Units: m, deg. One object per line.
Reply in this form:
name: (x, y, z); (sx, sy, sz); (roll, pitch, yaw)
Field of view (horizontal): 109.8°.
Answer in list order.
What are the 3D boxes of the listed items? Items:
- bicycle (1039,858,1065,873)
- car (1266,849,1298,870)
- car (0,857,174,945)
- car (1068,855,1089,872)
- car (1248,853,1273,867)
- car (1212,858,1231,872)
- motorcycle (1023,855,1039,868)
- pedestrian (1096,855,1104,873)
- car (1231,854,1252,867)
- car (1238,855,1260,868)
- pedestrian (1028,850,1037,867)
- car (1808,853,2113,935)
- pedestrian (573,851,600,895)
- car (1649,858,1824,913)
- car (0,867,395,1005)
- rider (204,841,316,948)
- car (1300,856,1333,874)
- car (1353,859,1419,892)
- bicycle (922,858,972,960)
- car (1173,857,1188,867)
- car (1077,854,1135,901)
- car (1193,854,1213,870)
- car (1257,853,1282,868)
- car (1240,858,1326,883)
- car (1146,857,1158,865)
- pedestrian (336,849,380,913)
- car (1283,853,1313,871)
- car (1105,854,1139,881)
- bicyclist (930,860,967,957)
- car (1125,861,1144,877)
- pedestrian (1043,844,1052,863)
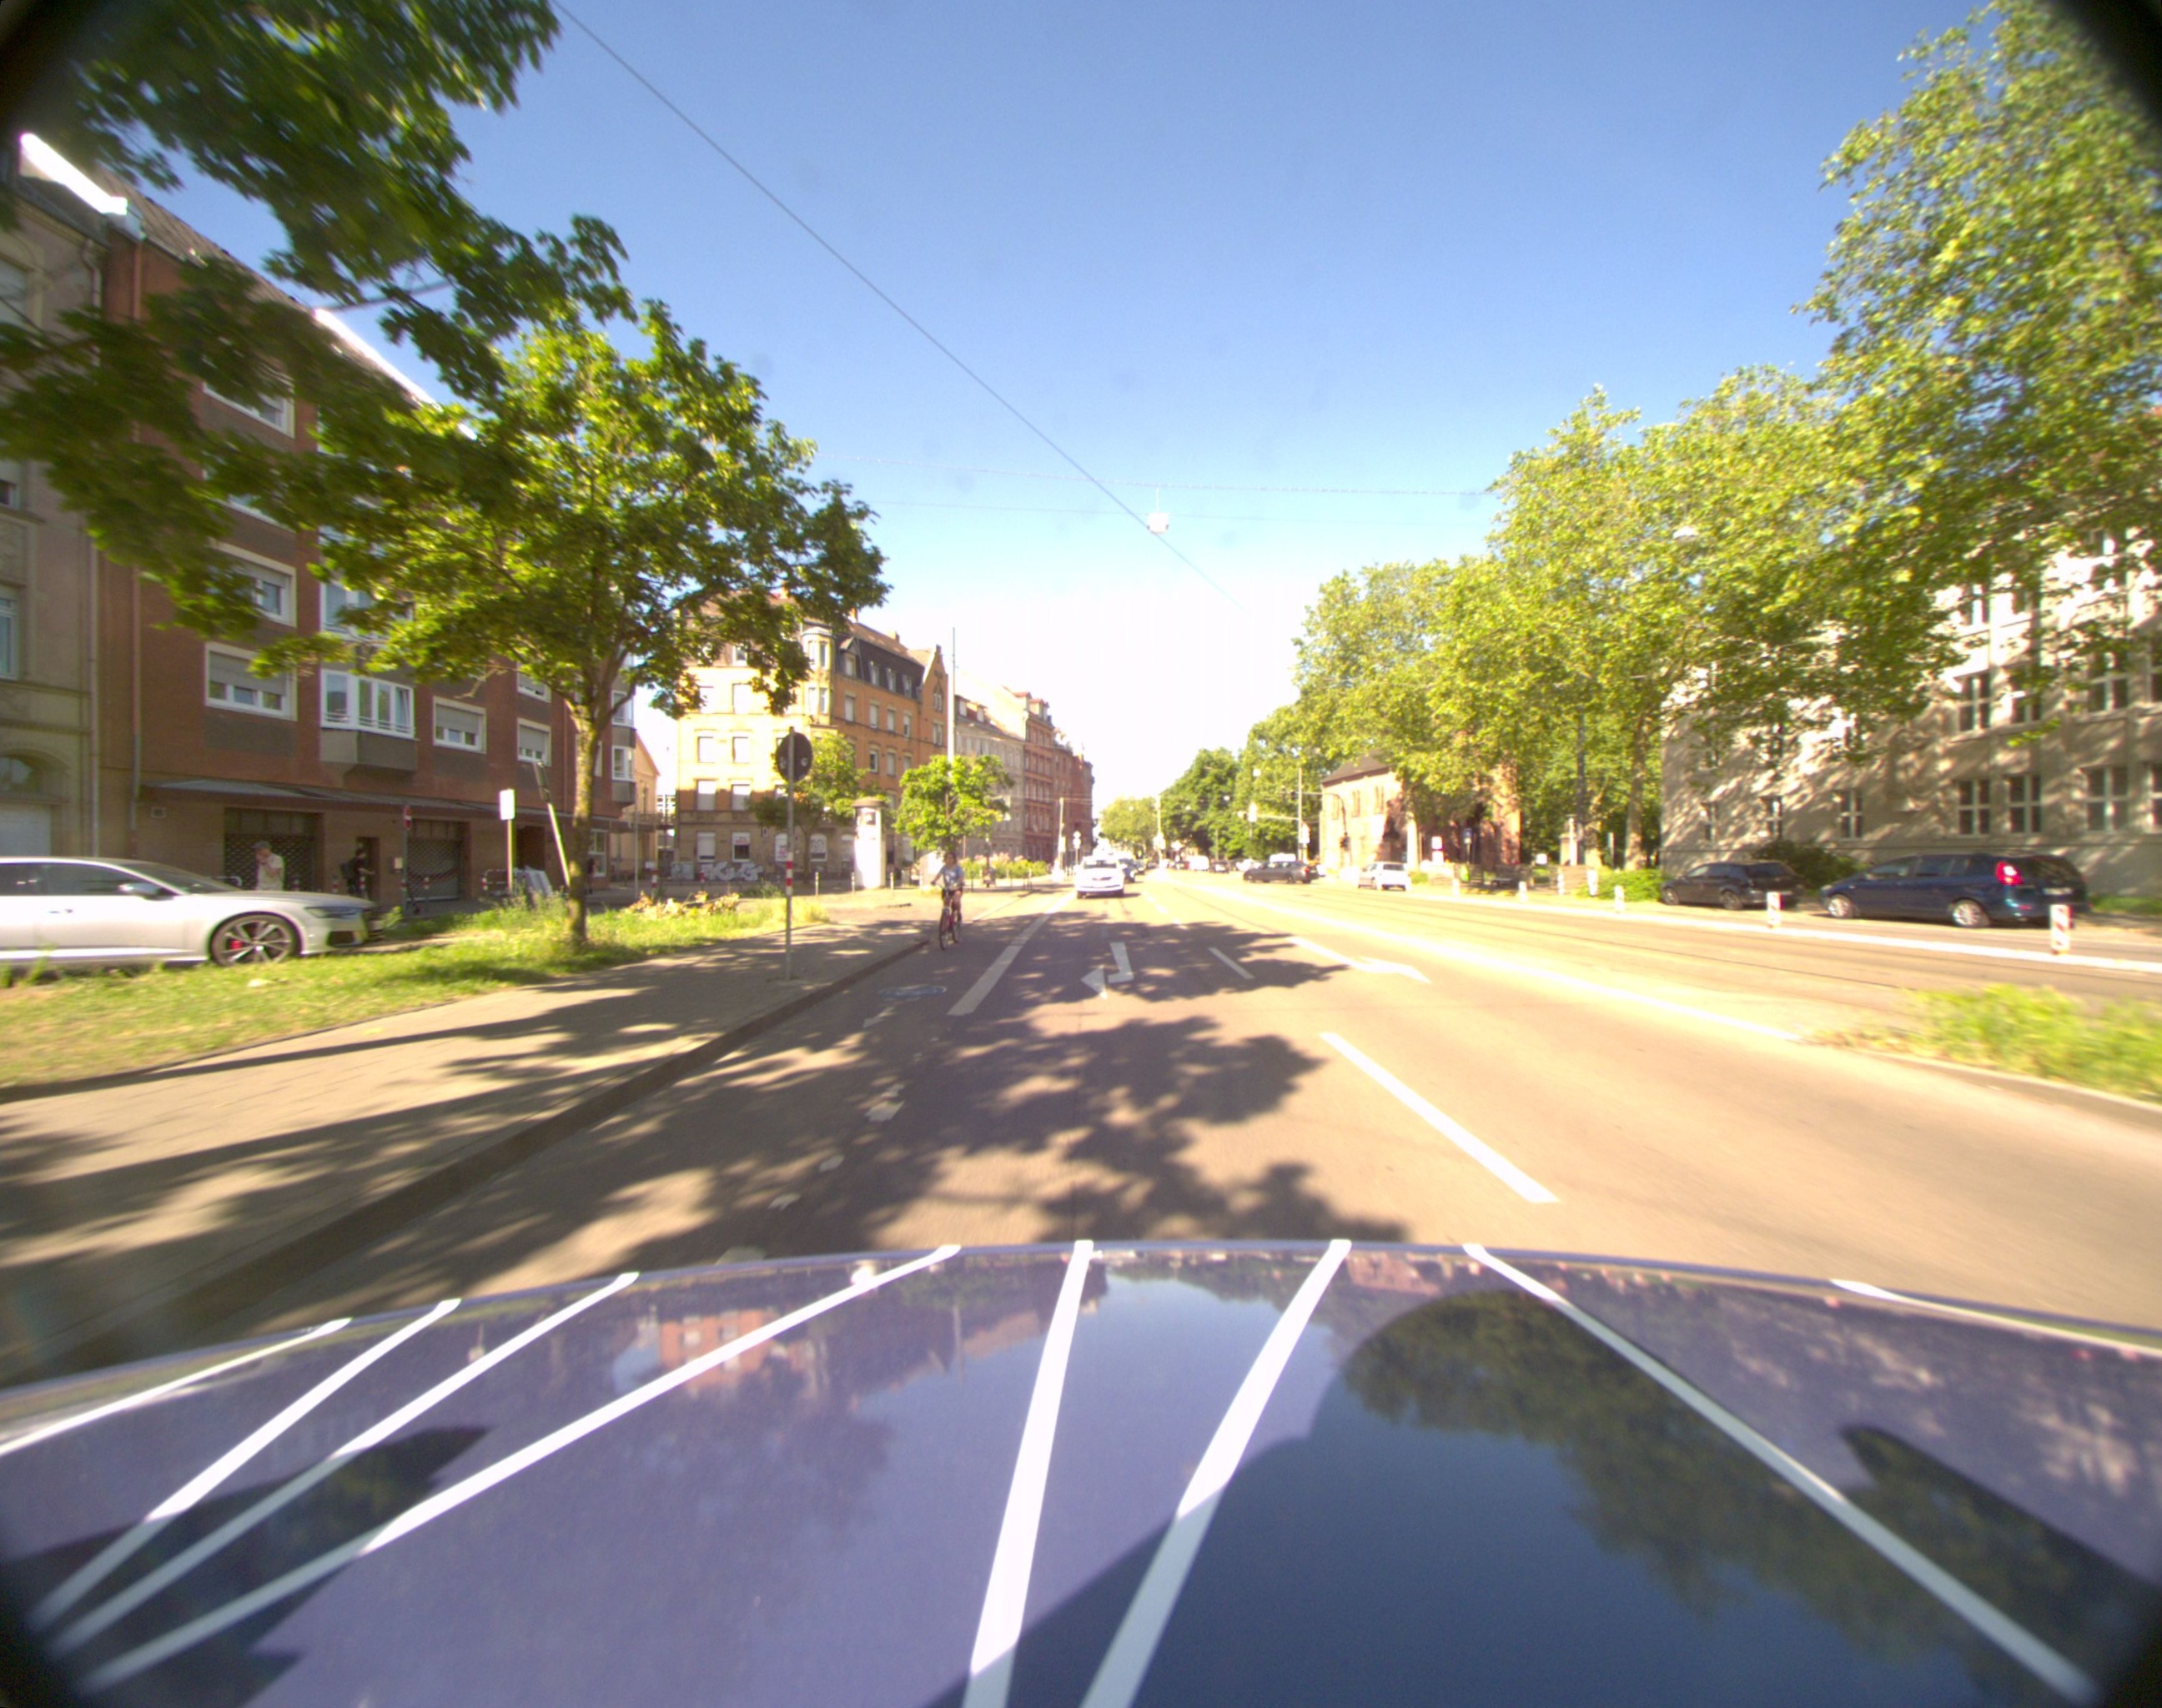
bicycle: (-3.049, 1.220, 81.838); (1.968, 1.408, 6.829); (-2, 0, 5)
car: (20.640, 0.553, 78.160); (1.921, 2.084, 4.592); (-2, 1, 0)
car: (-19.835, 0.892, 13.426); (1.998, 1.466, 4.490); (-3, 1, 4)
car: (-0.225, 0.887, 73.625); (1.682, 1.475, 4.001); (-2, 1, 4)
car: (20.900, 0.655, 88.482); (1.795, 1.543, 4.306); (-2, 1, 0)
car: (15.488, 1.152, 84.049); (1.619, 1.404, 4.089); (1, 1, 4)
motorcycle: (-5.525, 0.795, 83.478); (1.631, 1.308, 0.716); (-2, 1, -9)
pedestrian: (1.861, 0.964, 74.070); (0.735, 1.784, 0.884); (-2, 1, 5)
car: (20.864, 0.849, 98.879); (1.795, 1.543, 4.307); (-2, 1, 1)
car: (20.787, 0.934, 94.241); (1.795, 1.543, 4.307); (-2, 1, 1)
pedestrian: (-5.328, 0.500, 83.505); (0.821, 1.851, 0.703); (-2, 1, -9)
car: (19.596, 0.806, 17.307); (1.834, 1.629, 4.395); (0, 0, -1)
pedestrian: (-20.258, 0.767, 31.116); (0.592, 1.750, 0.642); (-2, 1, 2)
car: (19.776, 0.885, 23.196); (1.676, 1.538, 4.188); (0, 0, -1)
car: (-11.746, 0.901, 9.147); (4.889, 1.426, 2.016); (0, 0, -32)
rider: (-14.755, 0.699, 13.697); (0.963, 1.810, 1.039); (-2, 1, -21)
car: (20.982, 0.977, 67.863); (1.779, 1.564, 3.677); (-1, -1, -1)
car: (15.268, 1.042, 38.265); (1.834, 1.444, 4.171); (-1, 1, 3)
bicycle: (-2.308, 0.896, 13.289); (0.438, 1.629, 1.939); (-2, 0, 1)
car: (15.005, 1.145, 115.069); (1.797, 1.421, 4.376); (-2, 1, 1)
car: (1.080, 0.897, 30.690); (1.800, 1.626, 4.396); (-2, 1, 8)
car: (15.750, 1.024, 98.478); (2.065, 1.880, 4.518); (0, 1, 3)
car: (20.782, 0.680, 83.751); (1.795, 1.543, 3.860); (-2, 1, 1)
car: (12.348, 0.966, 46.722); (1.839, 1.444, 4.947); (-1, 1, -40)
car: (13.102, 1.317, 140.077); (1.797, 1.421, 4.376); (-2, 1, 1)
pedestrian: (-20.125, 0.739, 21.160); (0.571, 1.748, 0.615); (-1, 1, 3)
car: (20.797, 0.763, 73.089); (1.795, 1.543, 3.860); (-2, 1, 1)
car: (2.705, 0.918, 49.014); (1.998, 1.607, 4.266); (-2, -2, 5)
bicyclist: (-2.314, 0.933, 13.346); (0.438, 1.629, 0.779); (-1, 1, 2)
car: (5.497, 1.491, 78.632); (1.889, 1.419, 4.376); (-2, 1, 4)
pedestrian: (-3.733, -0.069, 84.788); (0.844, 2.002, 1.369); (-2, 1, 5)
